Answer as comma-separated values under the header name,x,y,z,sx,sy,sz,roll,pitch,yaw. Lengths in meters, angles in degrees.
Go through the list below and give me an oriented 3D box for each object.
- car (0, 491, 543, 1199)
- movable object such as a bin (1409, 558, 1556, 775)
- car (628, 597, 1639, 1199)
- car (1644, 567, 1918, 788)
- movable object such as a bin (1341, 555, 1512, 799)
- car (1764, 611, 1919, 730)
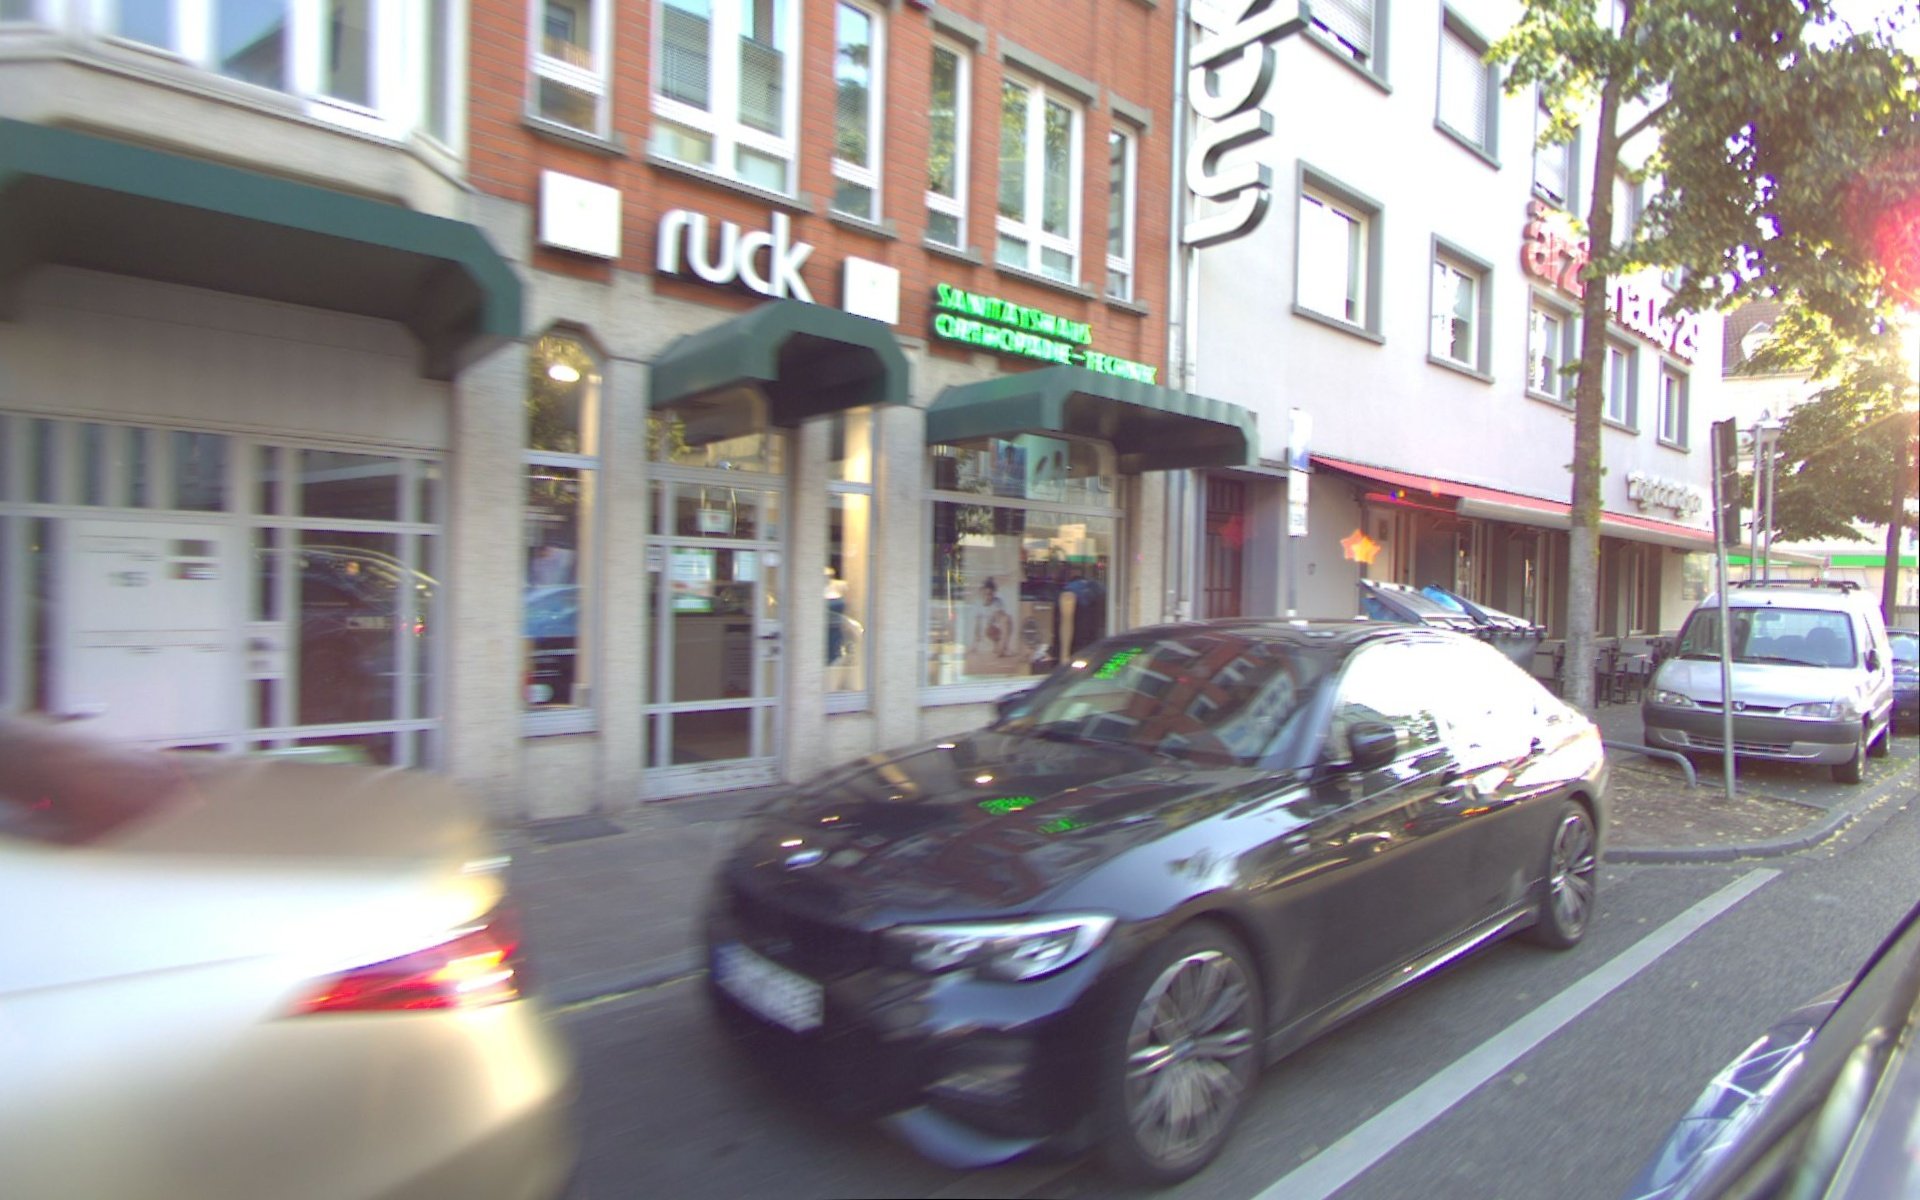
name,x,y,z,sx,sy,sz,roll,pitch,yaw
car,-3.086,0.662,0.681,4.903,1.546,1.816,-1,0,-38
movable object such as a bin,4.708,0.547,9.102,1.186,1.796,0.835,0,0,-44
car,1.121,0.731,4.207,4.430,1.438,1.755,1,0,-41
car,8.406,0.650,10.238,3.944,1.801,1.656,1,-1,-43
movable object such as a bin,3.794,0.558,8.206,1.331,1.796,0.835,0,0,-44
car,12.800,0.876,14.026,4.110,1.394,1.940,0,0,-42
